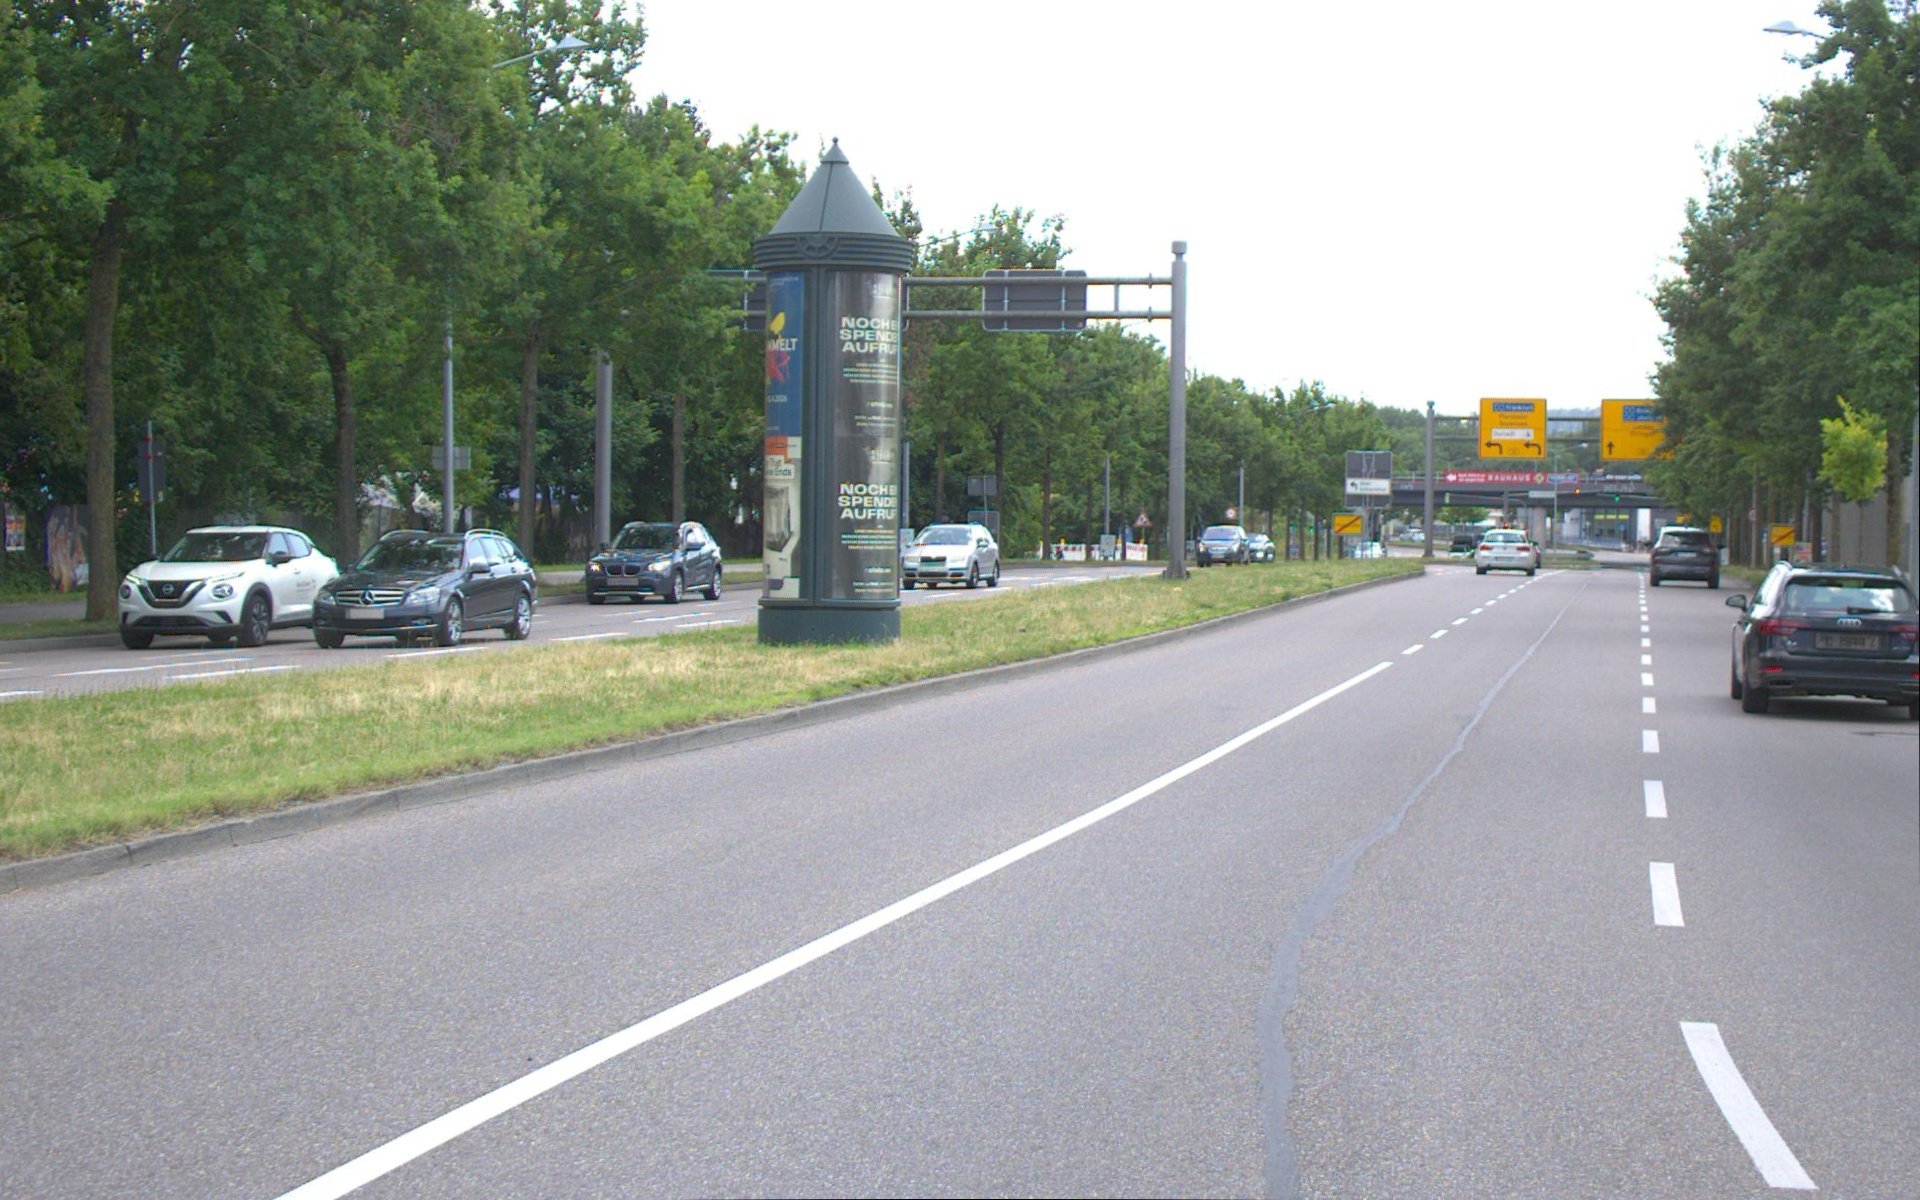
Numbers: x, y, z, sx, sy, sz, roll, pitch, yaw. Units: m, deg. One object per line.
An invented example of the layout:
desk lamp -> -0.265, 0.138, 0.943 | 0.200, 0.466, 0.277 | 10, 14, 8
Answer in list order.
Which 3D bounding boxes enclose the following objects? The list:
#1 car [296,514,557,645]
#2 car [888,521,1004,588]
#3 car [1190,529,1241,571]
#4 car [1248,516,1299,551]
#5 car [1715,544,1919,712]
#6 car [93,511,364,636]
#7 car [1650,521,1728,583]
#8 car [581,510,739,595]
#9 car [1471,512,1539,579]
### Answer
car -> -6.774, -0.304, 44.198 | 1.723, 1.585, 5.011 | 0, 1, 11
car -> -0.272, -1.032, 76.551 | 1.764, 1.435, 4.307 | 0, 1, 11
car -> 9.830, -1.940, 132.056 | 1.742, 1.563, 4.275 | 0, 1, 7
car -> 14.061, -3.004, 154.027 | 1.742, 1.540, 4.571 | 0, 1, 12
car -> 8.279, 0.229, 33.215 | 1.684, 1.458, 3.998 | 3, 1, 10
car -> -9.465, -0.378, 44.846 | 1.911, 1.535, 4.366 | 0, 1, 11
car -> 19.974, -1.332, 94.211 | 1.994, 1.620, 4.307 | 2, 2, 12
car -> -5.739, -0.930, 66.318 | 1.764, 1.571, 5.029 | 0, 1, 10
car -> 17.197, -1.719, 108.536 | 1.994, 2.007, 3.999 | 3, 1, 8
